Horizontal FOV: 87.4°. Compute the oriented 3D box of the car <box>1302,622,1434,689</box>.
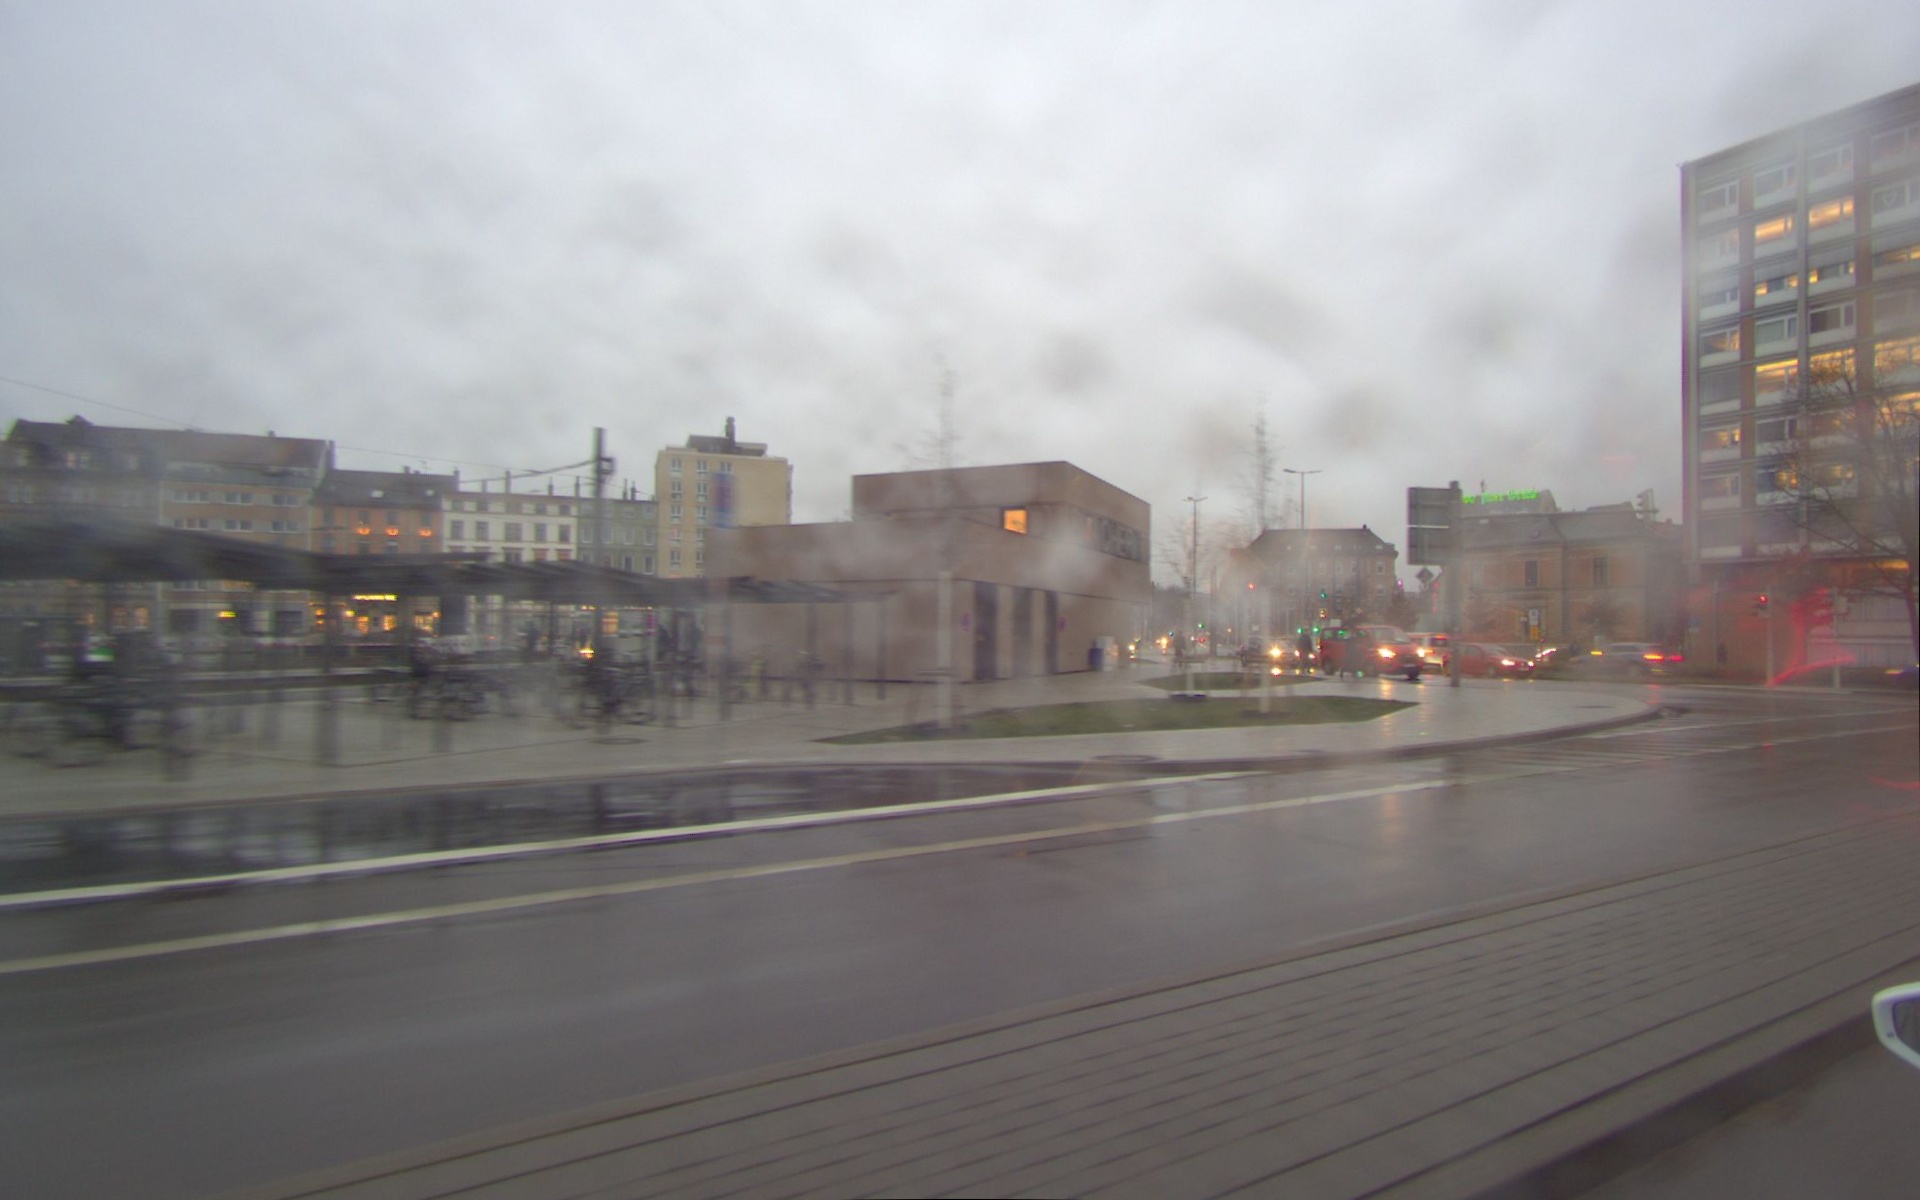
[{"bbox_3d":[15.732,2.071,39.097,2.220,2.311,5.024,3,-1,-13],"label":"car"}]

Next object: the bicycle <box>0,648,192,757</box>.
[{"bbox_3d":[-10.463,1.182,12.041,0.540,1.180,1.895,2,-1,30],"label":"bicycle"}]

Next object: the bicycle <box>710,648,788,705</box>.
[{"bbox_3d":[-4.675,1.684,22.369,0.540,1.180,1.895,2,-1,30],"label":"bicycle"}]

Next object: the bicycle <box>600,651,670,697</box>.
[{"bbox_3d":[-8.814,1.984,27.309,0.540,1.180,1.895,2,-1,30],"label":"bicycle"}]

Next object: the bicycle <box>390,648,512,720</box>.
[{"bbox_3d":[-8.985,1.455,17.813,0.540,1.180,1.895,2,-1,30],"label":"bicycle"}]

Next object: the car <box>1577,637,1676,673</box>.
[{"bbox_3d":[31.491,2.576,47.587,1.445,1.505,3.916,3,-1,-16],"label":"car"}]

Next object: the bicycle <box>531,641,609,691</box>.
[{"bbox_3d":[-9.886,1.656,25.516,0.540,1.180,1.895,2,-1,30],"label":"bicycle"}]

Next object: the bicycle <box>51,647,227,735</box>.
[{"bbox_3d":[-12.047,1.300,14.809,0.540,1.180,1.895,2,-1,30],"label":"bicycle"}]

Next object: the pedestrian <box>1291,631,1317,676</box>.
[{"bbox_3d":[13.577,2.094,39.624,0.781,1.719,0.461,3,-1,-7],"label":"pedestrian"}]

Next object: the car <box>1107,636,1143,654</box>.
[{"bbox_3d":[14.480,3.946,88.382,1.579,1.466,3.635,3,-1,-17],"label":"car"}]

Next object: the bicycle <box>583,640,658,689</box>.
[{"bbox_3d":[-8.608,1.627,25.554,0.540,1.180,1.895,2,-1,30],"label":"bicycle"}]

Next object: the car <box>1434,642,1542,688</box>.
[{"bbox_3d":[22.592,2.764,43.179,1.732,1.706,4.069,3,-1,-17],"label":"car"}]

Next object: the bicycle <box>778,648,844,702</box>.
[{"bbox_3d":[-3.505,1.750,23.781,0.540,1.180,1.897,2,-1,26],"label":"bicycle"}]

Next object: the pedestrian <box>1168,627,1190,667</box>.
[{"bbox_3d":[10.313,2.213,47.275,0.670,1.839,0.692,3,-1,-16],"label":"pedestrian"}]

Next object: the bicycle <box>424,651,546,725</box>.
[{"bbox_3d":[-8.199,1.486,17.430,0.540,1.180,1.895,2,-1,30],"label":"bicycle"}]

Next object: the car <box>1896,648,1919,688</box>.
[{"bbox_3d":[35.278,2.468,35.172,1.445,1.416,3.412,3,-1,-14],"label":"car"}]

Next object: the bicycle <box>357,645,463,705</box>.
[{"bbox_3d":[-11.520,1.557,21.102,0.540,1.180,1.895,2,-1,30],"label":"bicycle"}]

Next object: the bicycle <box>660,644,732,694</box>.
[{"bbox_3d":[-6.670,1.733,25.447,0.540,1.180,1.895,2,-1,30],"label":"bicycle"}]

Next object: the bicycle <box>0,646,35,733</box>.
[{"bbox_3d":[-13.855,1.218,13.556,0.540,1.180,1.895,2,-1,30],"label":"bicycle"}]

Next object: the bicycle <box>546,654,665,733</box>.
[{"bbox_3d":[-5.771,1.499,16.461,0.540,1.180,1.895,2,-1,30],"label":"bicycle"}]

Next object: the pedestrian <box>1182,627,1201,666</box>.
[{"bbox_3d":[10.922,2.193,47.442,0.576,1.795,0.610,3,-1,-16],"label":"pedestrian"}]

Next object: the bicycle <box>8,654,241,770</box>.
[{"bbox_3d":[-9.454,1.221,11.470,0.540,1.180,1.939,2,-1,30],"label":"bicycle"}]

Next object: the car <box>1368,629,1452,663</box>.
[{"bbox_3d":[27.904,2.838,62.497,1.966,1.938,5.157,1,-1,-14],"label":"car"}]

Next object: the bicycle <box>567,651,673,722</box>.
[{"bbox_3d":[-6.127,1.530,18.215,0.540,1.180,1.895,2,-1,30],"label":"bicycle"}]
